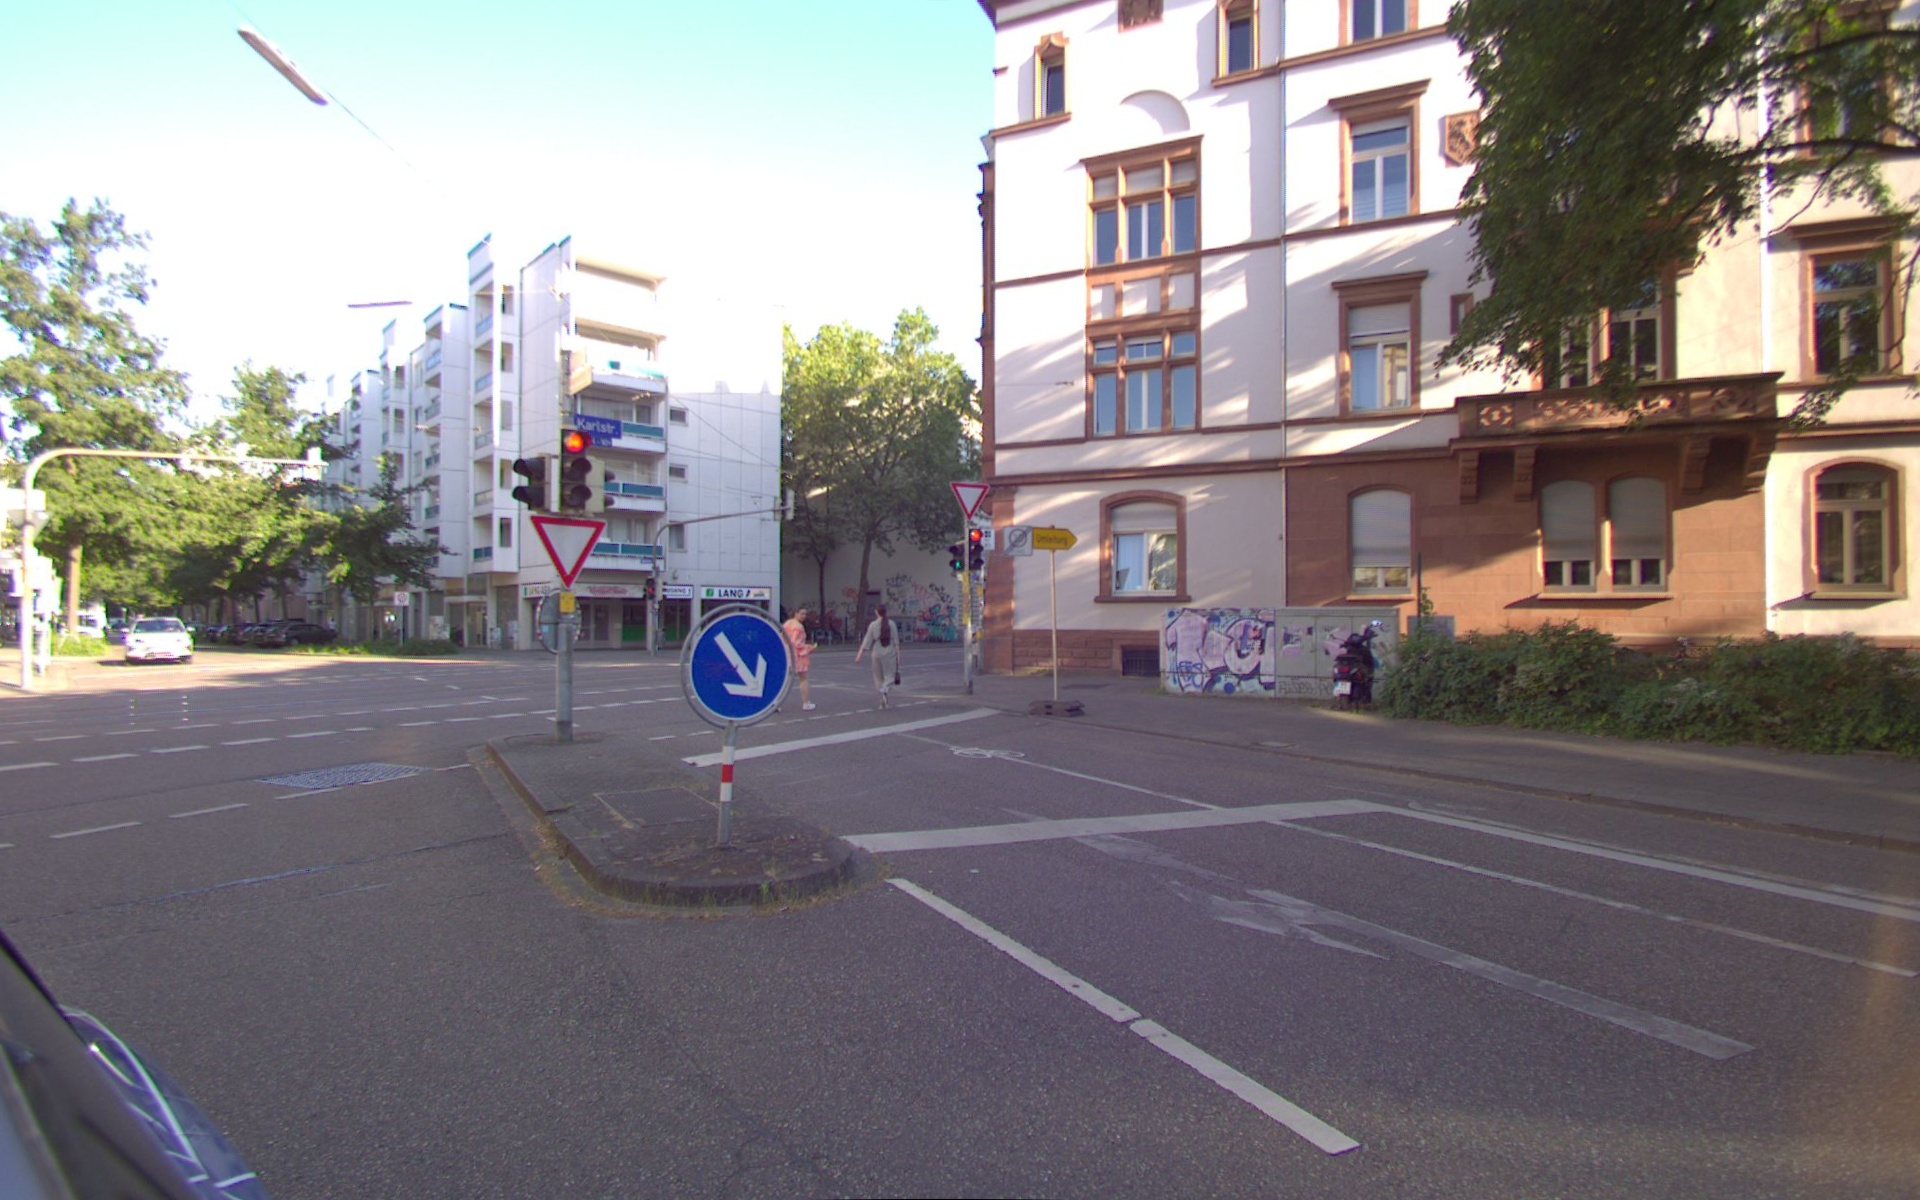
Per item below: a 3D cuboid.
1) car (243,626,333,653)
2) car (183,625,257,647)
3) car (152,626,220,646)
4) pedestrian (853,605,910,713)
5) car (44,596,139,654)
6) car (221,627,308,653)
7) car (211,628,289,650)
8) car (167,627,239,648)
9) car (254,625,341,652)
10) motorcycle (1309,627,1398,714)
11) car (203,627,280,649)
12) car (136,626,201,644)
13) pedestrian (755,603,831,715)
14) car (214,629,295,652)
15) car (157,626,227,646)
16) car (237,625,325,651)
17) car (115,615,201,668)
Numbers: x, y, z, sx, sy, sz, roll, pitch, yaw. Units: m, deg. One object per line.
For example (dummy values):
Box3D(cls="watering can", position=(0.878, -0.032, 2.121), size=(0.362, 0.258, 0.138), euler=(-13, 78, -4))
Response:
Box3D(cls="car", position=(-41.388, 2.431, 62.370), size=(1.998, 1.597, 4.247), euler=(-1, -2, 40))
Box3D(cls="car", position=(-56.754, 2.736, 77.639), size=(1.999, 1.597, 4.245), euler=(-1, -2, 41))
Box3D(cls="car", position=(-64.508, 2.966, 84.383), size=(1.999, 1.597, 4.245), euler=(-1, -2, 41))
Box3D(cls="pedestrian", position=(-1.273, 0.952, 16.618), size=(0.857, 1.710, 0.984), euler=(0, -2, 0))
Box3D(cls="car", position=(-51.304, 1.463, 59.694), size=(8.083, 3.203, 3.279), euler=(-1, -2, 43))
Box3D(cls="car", position=(-45.110, 2.575, 65.699), size=(1.998, 1.597, 4.247), euler=(-1, -2, 40))
Box3D(cls="car", position=(-51.147, 2.783, 72.957), size=(1.999, 1.597, 4.245), euler=(-1, -2, 41))
Box3D(cls="car", position=(-59.887, 2.957, 80.141), size=(1.999, 1.597, 4.245), euler=(-1, -2, 41))
Box3D(cls="car", position=(-39.651, 2.287, 60.648), size=(1.998, 1.597, 3.947), euler=(-1, -2, 40))
Box3D(cls="motorcycle", position=(6.212, 1.061, 15.912), size=(0.841, 1.275, 2.085), euler=(-1, -2, 35))
Box3D(cls="car", position=(-52.926, 2.770, 74.587), size=(1.999, 1.597, 4.245), euler=(-1, -2, 41))
Box3D(cls="car", position=(-69.809, 3.065, 89.307), size=(1.999, 1.597, 4.245), euler=(-1, -2, 41))
Box3D(cls="pedestrian", position=(-2.628, 0.912, 16.016), size=(0.861, 1.710, 0.979), euler=(0, -2, 15))
Box3D(cls="car", position=(-48.899, 2.787, 70.229), size=(1.999, 1.597, 4.245), euler=(-1, -2, 41))
Box3D(cls="car", position=(-62.487, 2.936, 82.381), size=(1.999, 1.597, 4.245), euler=(-1, -2, 41))
Box3D(cls="car", position=(-43.104, 2.383, 64.319), size=(1.998, 1.597, 4.247), euler=(-1, -2, 40))
Box3D(cls="car", position=(-28.737, 1.459, 36.228), size=(1.970, 1.763, 4.003), euler=(2, -2, -44))
